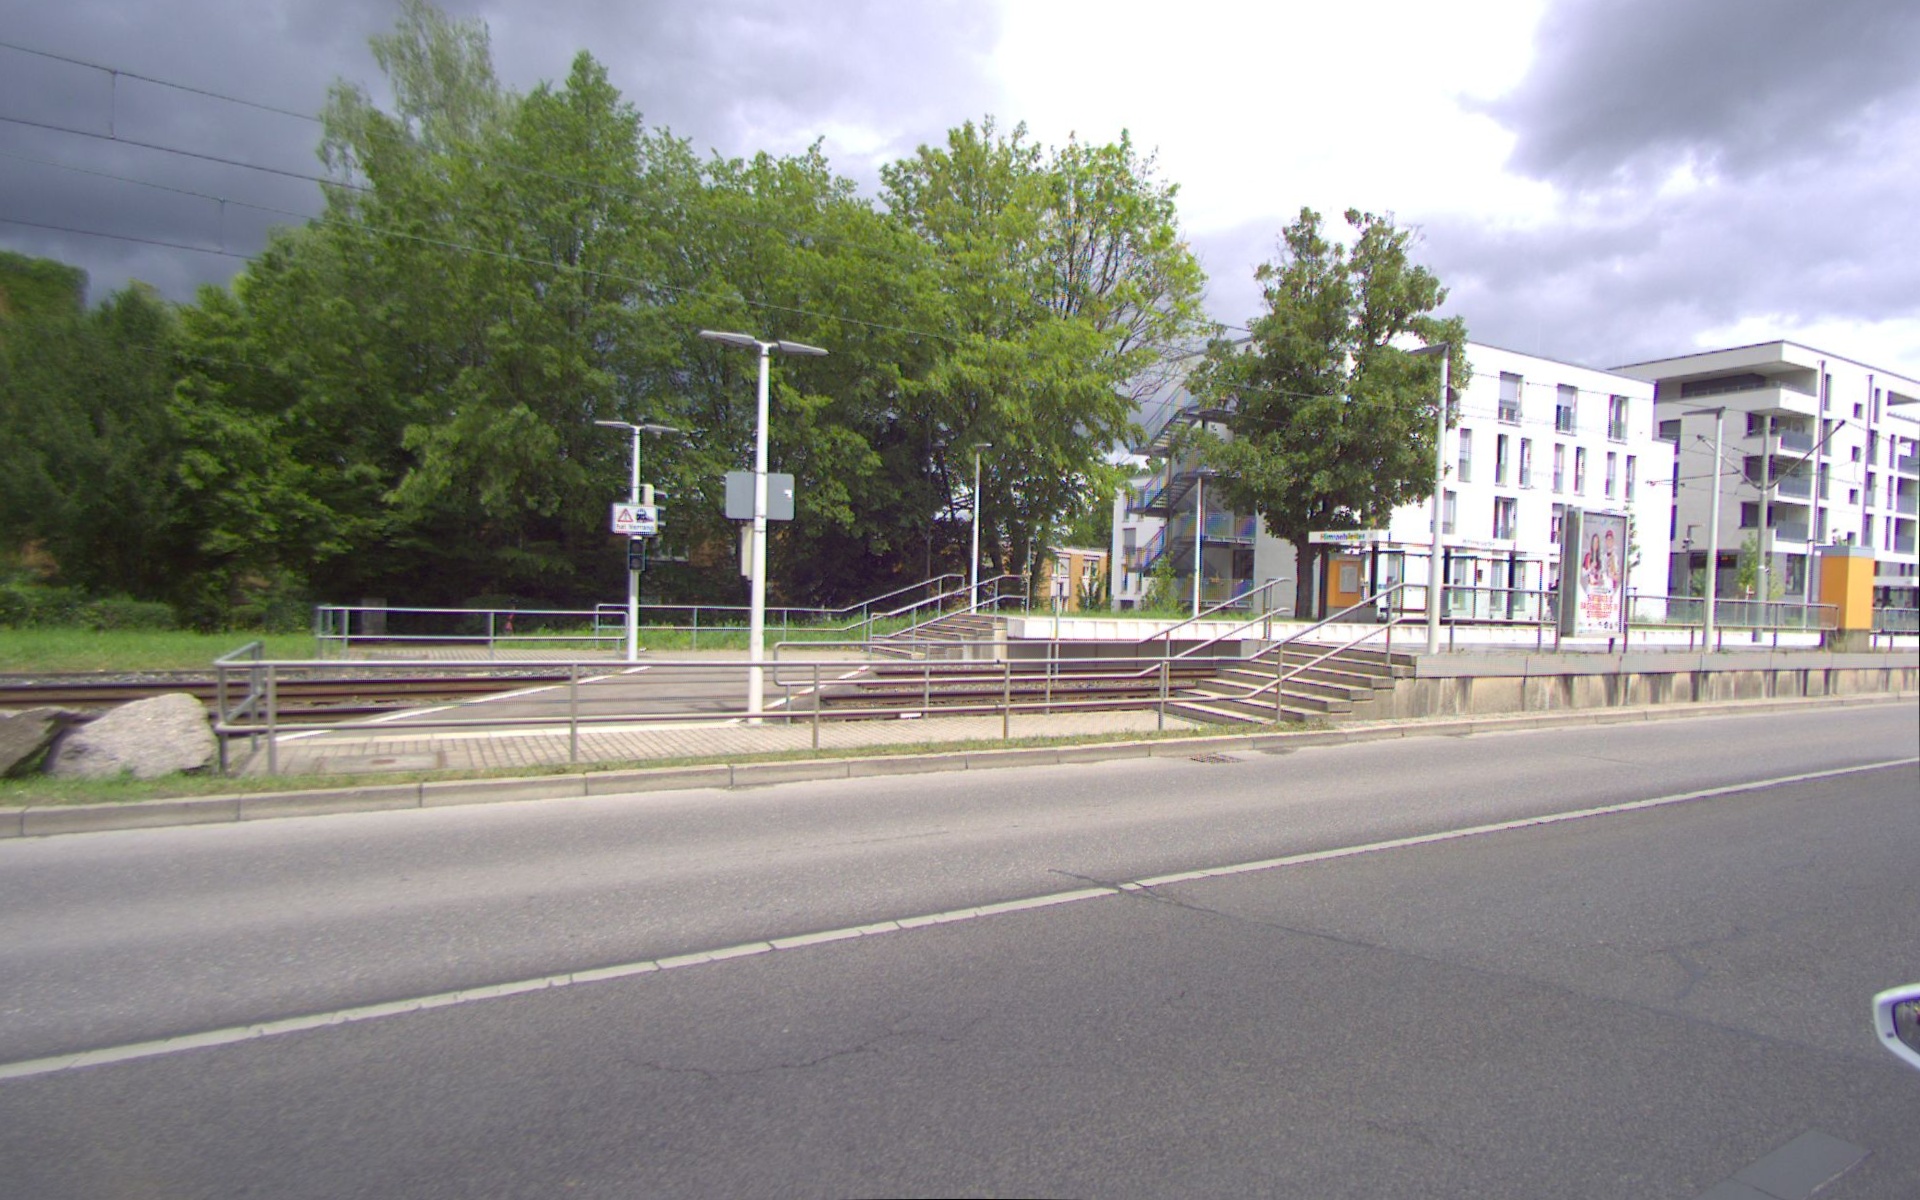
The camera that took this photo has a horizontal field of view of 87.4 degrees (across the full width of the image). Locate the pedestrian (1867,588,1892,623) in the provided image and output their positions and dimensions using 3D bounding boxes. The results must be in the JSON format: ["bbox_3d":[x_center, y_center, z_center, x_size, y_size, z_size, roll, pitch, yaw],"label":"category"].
[{"bbox_3d":[43.120,0.249,47.113,0.664,1.618,0.489,2,1,14],"label":"pedestrian"}]

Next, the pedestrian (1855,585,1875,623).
[{"bbox_3d":[43.213,0.185,47.957,0.480,1.748,0.677,2,1,27],"label":"pedestrian"}]

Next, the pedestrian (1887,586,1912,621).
[{"bbox_3d":[44.337,0.148,47.413,0.664,1.618,0.489,2,1,6],"label":"pedestrian"}]

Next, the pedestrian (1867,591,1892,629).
[{"bbox_3d":[44.444,0.464,48.566,0.664,1.789,0.489,2,1,6],"label":"pedestrian"}]

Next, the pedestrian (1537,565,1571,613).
[{"bbox_3d":[19.610,-0.364,33.155,0.540,1.551,0.739,1,1,-26],"label":"pedestrian"}]
